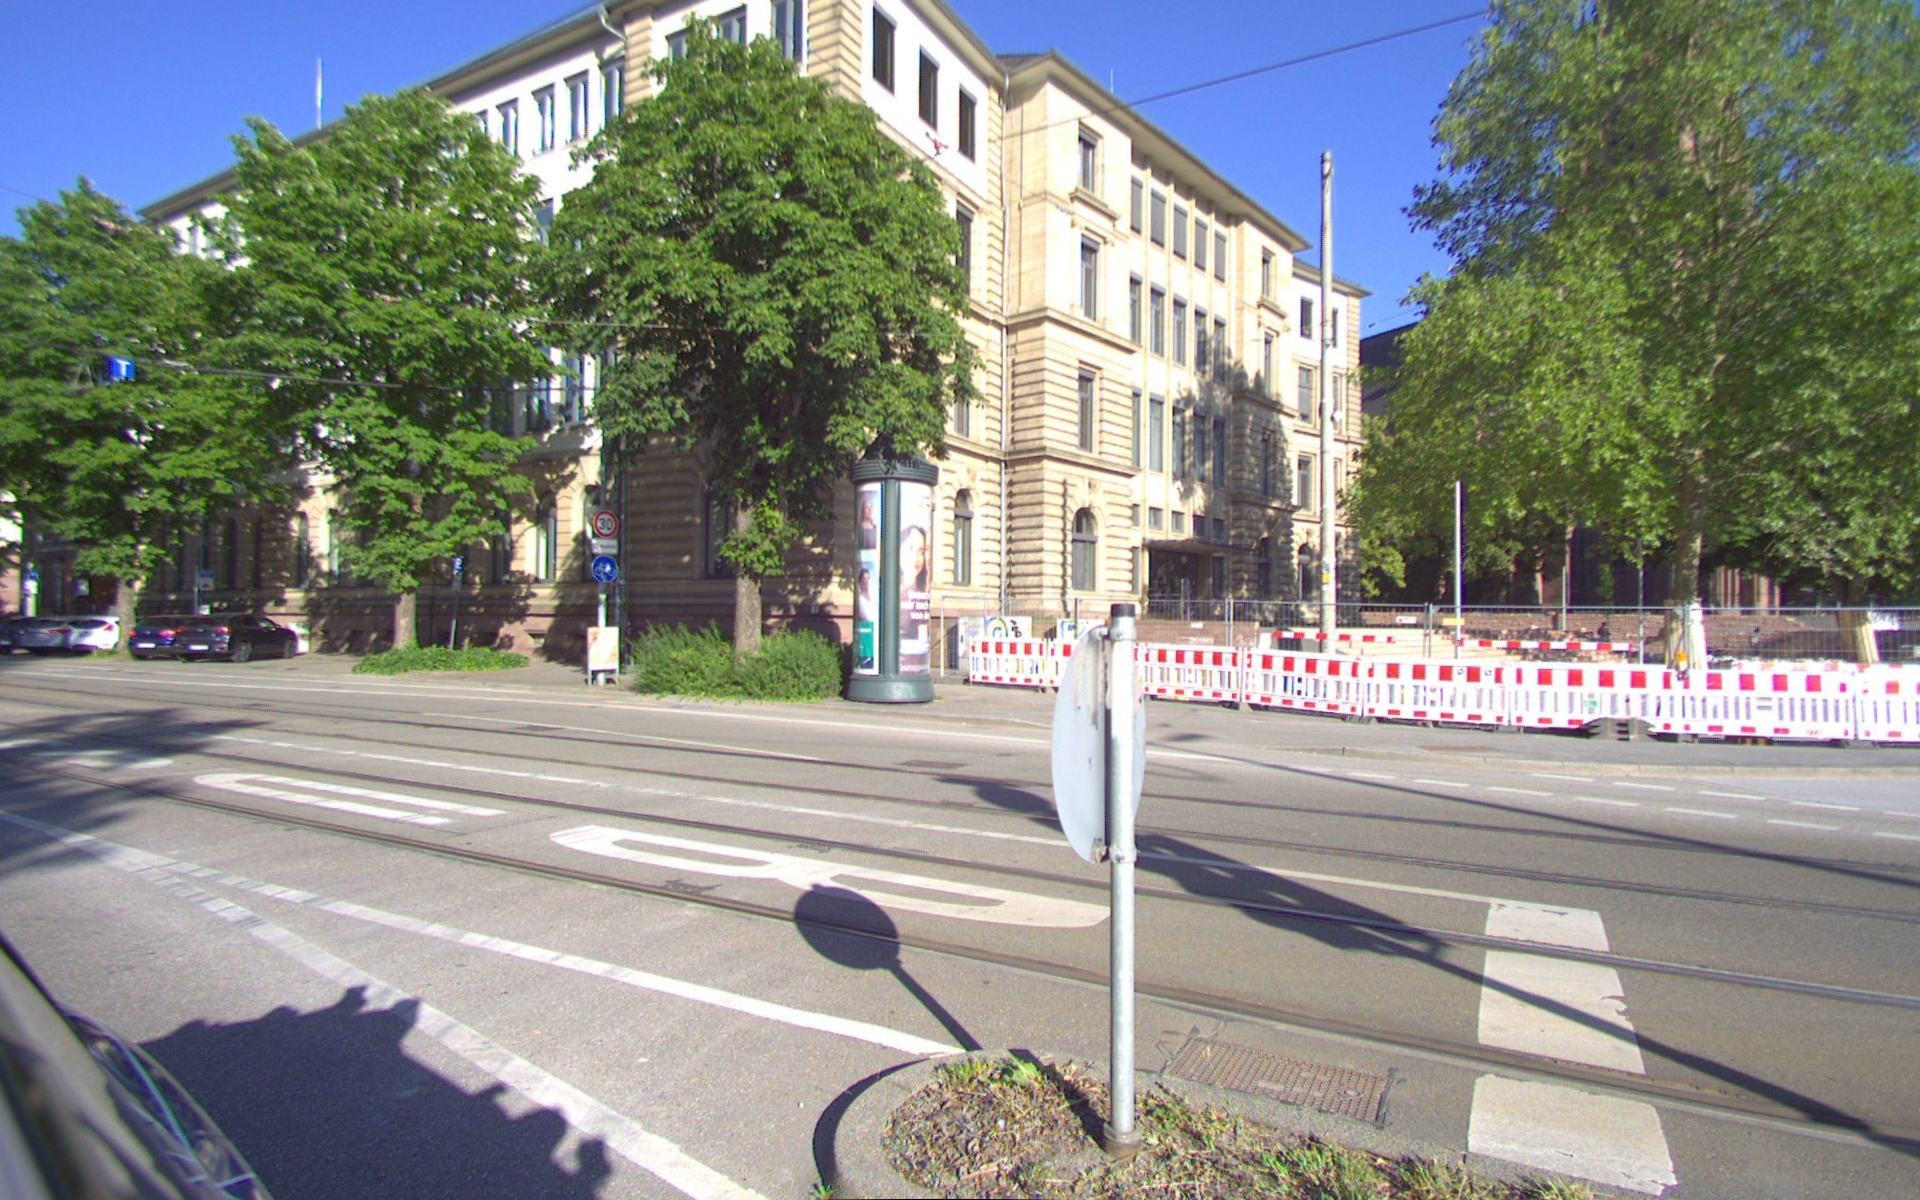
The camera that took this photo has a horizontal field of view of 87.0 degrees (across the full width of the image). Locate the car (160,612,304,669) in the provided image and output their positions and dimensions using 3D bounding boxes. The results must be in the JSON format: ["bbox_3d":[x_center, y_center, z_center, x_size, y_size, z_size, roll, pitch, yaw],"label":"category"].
[{"bbox_3d":[-23.616,1.262,33.037,1.819,1.643,4.184,-1,0,-3],"label":"car"}]

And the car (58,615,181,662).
[{"bbox_3d":[-30.916,1.374,37.356,1.626,1.572,3.652,-1,0,-3],"label":"car"}]

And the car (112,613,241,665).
[{"bbox_3d":[-26.245,1.271,34.039,1.626,1.572,3.652,-1,0,-3],"label":"car"}]

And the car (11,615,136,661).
[{"bbox_3d":[-33.229,1.392,38.067,1.626,1.572,3.652,-1,0,-3],"label":"car"}]

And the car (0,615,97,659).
[{"bbox_3d":[-36.245,1.414,39.775,1.626,1.572,3.652,-1,0,-3],"label":"car"}]

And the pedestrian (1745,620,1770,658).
[{"bbox_3d":[35.660,1.741,45.260,0.666,1.660,0.762,1,-2,-45],"label":"pedestrian"}]

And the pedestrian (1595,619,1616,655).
[{"bbox_3d":[30.480,1.728,47.785,0.627,1.660,0.677,1,-2,-37],"label":"pedestrian"}]
